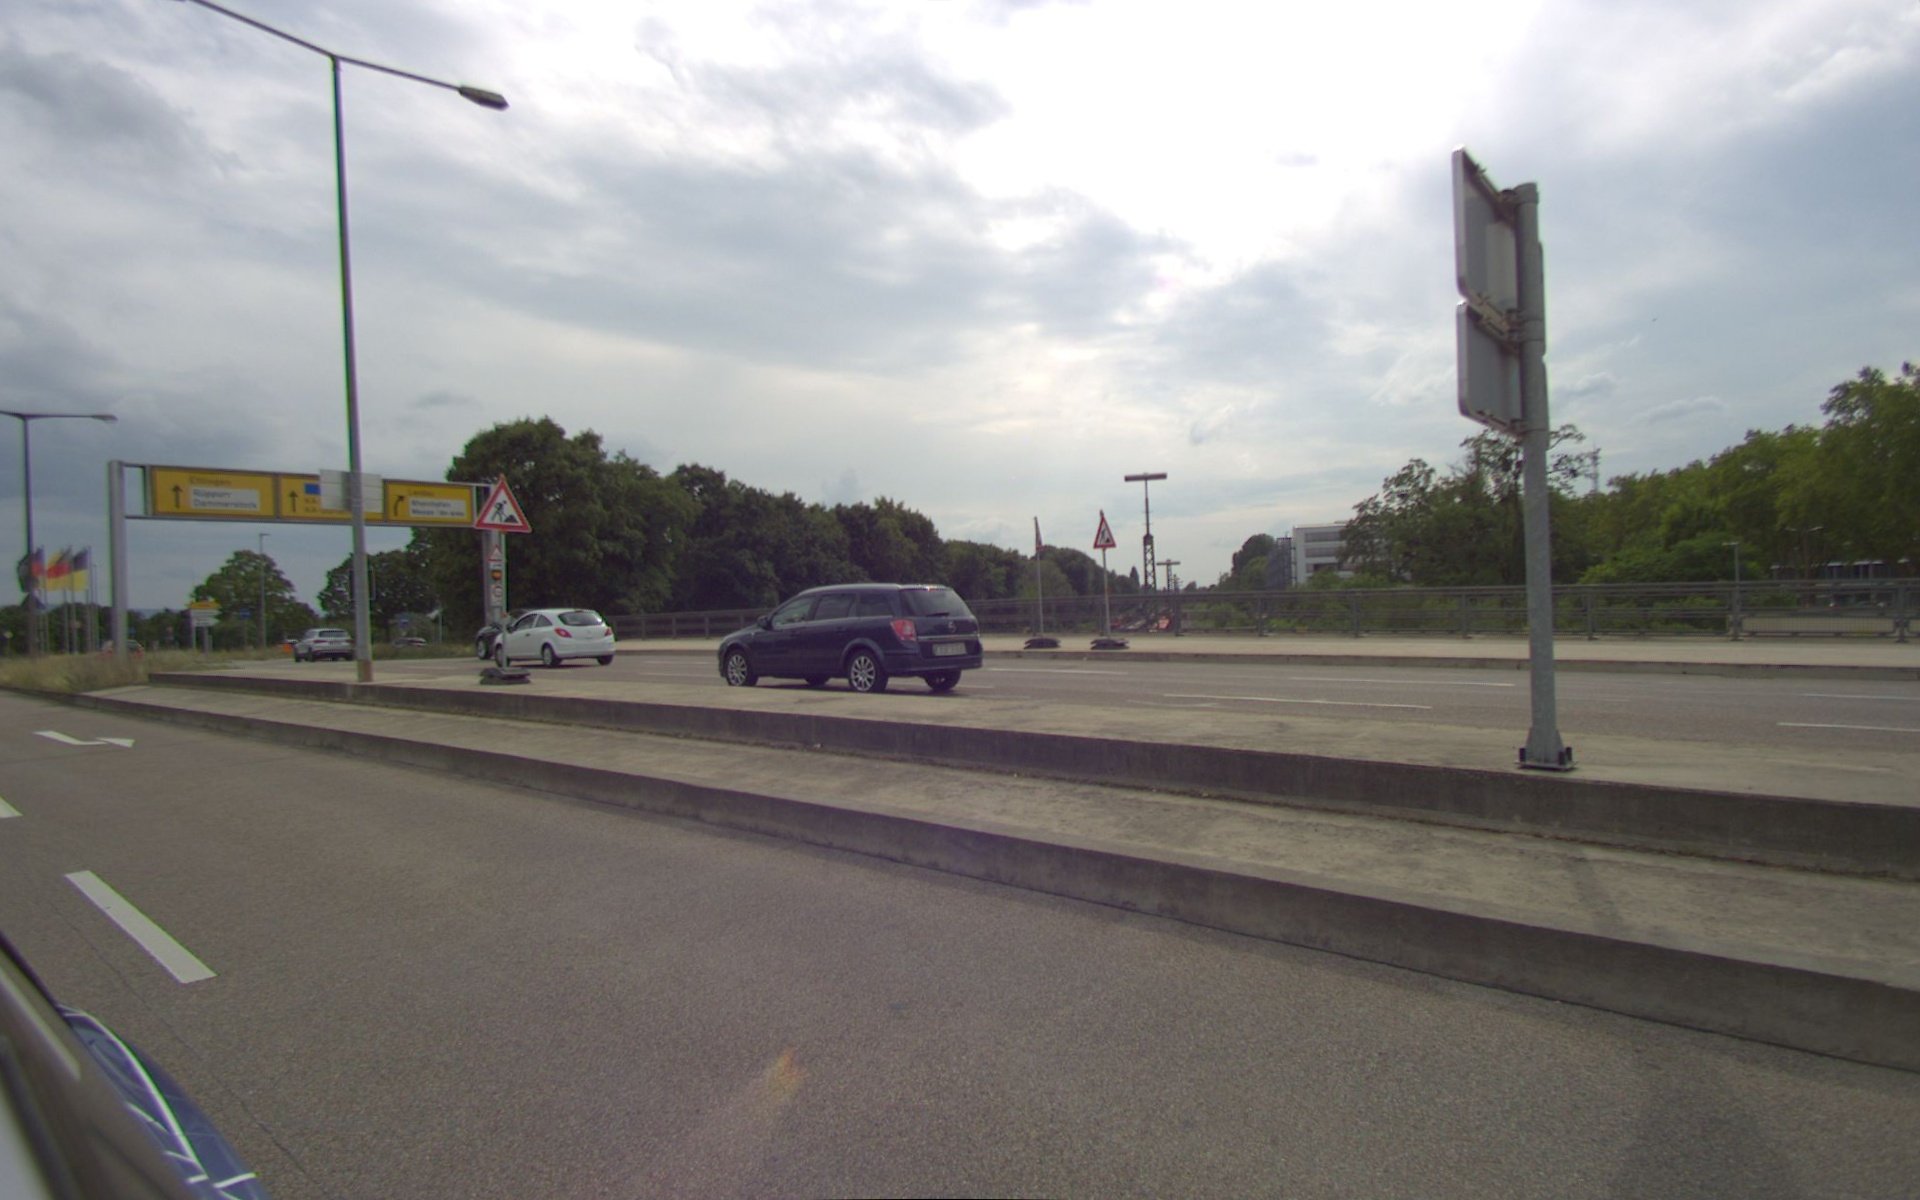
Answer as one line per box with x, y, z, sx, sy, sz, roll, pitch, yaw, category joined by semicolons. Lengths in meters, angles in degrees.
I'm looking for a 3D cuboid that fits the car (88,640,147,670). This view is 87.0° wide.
-46.572;3.010;55.925;3.912;1.543;1.706;-2;0;38;car

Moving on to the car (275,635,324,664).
-41.074;3.102;62.986;1.860;1.619;4.774;-3;-2;-25;car

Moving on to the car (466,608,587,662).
-14.580;1.149;33.964;4.542;1.652;1.868;-2;0;40;car

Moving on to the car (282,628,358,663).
-30.869;2.177;48.791;4.450;1.543;1.868;-2;0;41;car

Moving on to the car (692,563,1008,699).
-1.694;0.413;14.480;4.582;1.652;1.867;-2;0;41;car

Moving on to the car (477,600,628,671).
-10.615;0.894;26.243;4.214;1.652;1.868;-2;0;40;car

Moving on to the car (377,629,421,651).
-43.492;3.125;78.588;1.861;1.539;4.680;1;-4;-14;car
